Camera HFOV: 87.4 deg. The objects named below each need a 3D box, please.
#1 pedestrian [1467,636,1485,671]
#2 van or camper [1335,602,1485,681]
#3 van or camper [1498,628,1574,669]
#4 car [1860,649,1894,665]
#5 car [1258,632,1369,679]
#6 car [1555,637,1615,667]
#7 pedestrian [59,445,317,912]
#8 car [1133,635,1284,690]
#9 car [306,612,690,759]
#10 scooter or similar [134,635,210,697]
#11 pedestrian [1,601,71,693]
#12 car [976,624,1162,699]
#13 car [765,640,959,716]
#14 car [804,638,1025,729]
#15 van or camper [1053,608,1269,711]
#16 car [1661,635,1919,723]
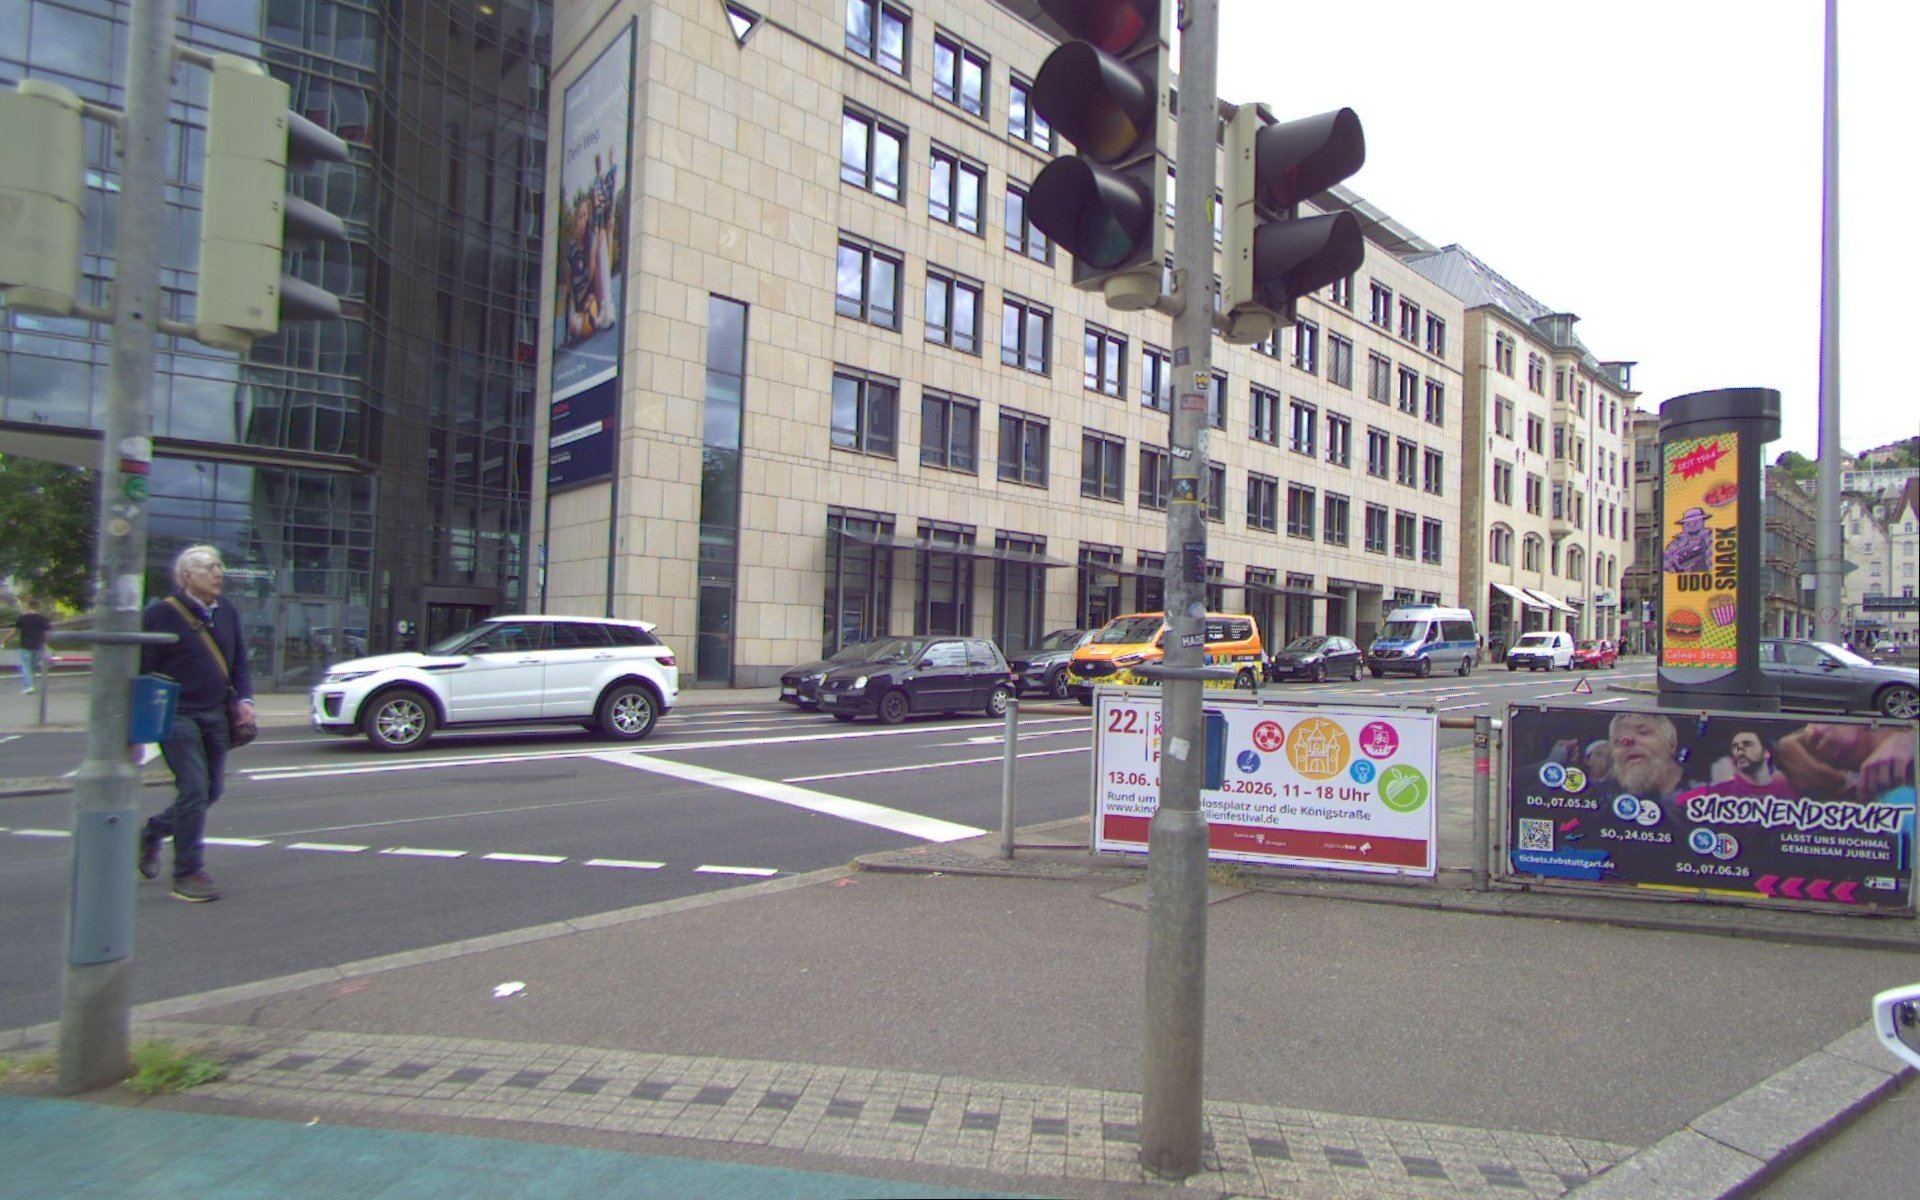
[{"bbox_3d":[24.241,2.514,47.217,0.674,1.597,0.547,2,-2,-40],"label":"pedestrian"},{"bbox_3d":[17.317,1.561,38.497,6.199,2.762,2.975,2,-2,-42],"label":"van or camper"},{"bbox_3d":[26.882,2.250,46.805,4.455,1.775,1.850,2,-1,-43],"label":"van or camper"},{"bbox_3d":[94.936,5.877,103.990,4.847,1.606,1.977,3,-3,-40],"label":"car"},{"bbox_3d":[11.735,1.830,33.238,4.000,1.467,1.753,2,-4,-42],"label":"car"},{"bbox_3d":[31.944,2.633,51.321,3.558,1.424,1.770,2,-2,-44],"label":"car"},{"bbox_3d":[-4.057,0.380,5.300,0.863,2.201,0.761,0,-2,30],"label":"pedestrian"},{"bbox_3d":[7.194,1.749,28.824,4.537,1.414,1.976,2,-2,-41],"label":"car"},{"bbox_3d":[-5.881,1.025,12.990,4.275,1.619,1.723,2,-2,-35],"label":"car"},{"bbox_3d":[-16.278,1.346,20.747,1.358,1.224,0.533,0,-1,18],"label":"scooter or similar"},{"bbox_3d":[-18.908,0.955,20.563,0.915,1.834,0.696,0,-1,24],"label":"pedestrian"},{"bbox_3d":[2.749,1.483,24.657,4.649,1.667,1.976,2,-3,-42],"label":"car"},{"bbox_3d":[-1.872,1.466,19.784,3.604,1.359,1.543,2,-3,-41],"label":"car"},{"bbox_3d":[-0.716,1.348,17.109,3.604,1.397,1.543,2,-3,-41],"label":"car"},{"bbox_3d":[4.367,1.233,21.347,5.046,1.947,1.896,2,-3,-42],"label":"van or camper"},{"bbox_3d":[16.824,1.488,19.852,1.861,1.478,4.524,2,-2,-33],"label":"car"}]
